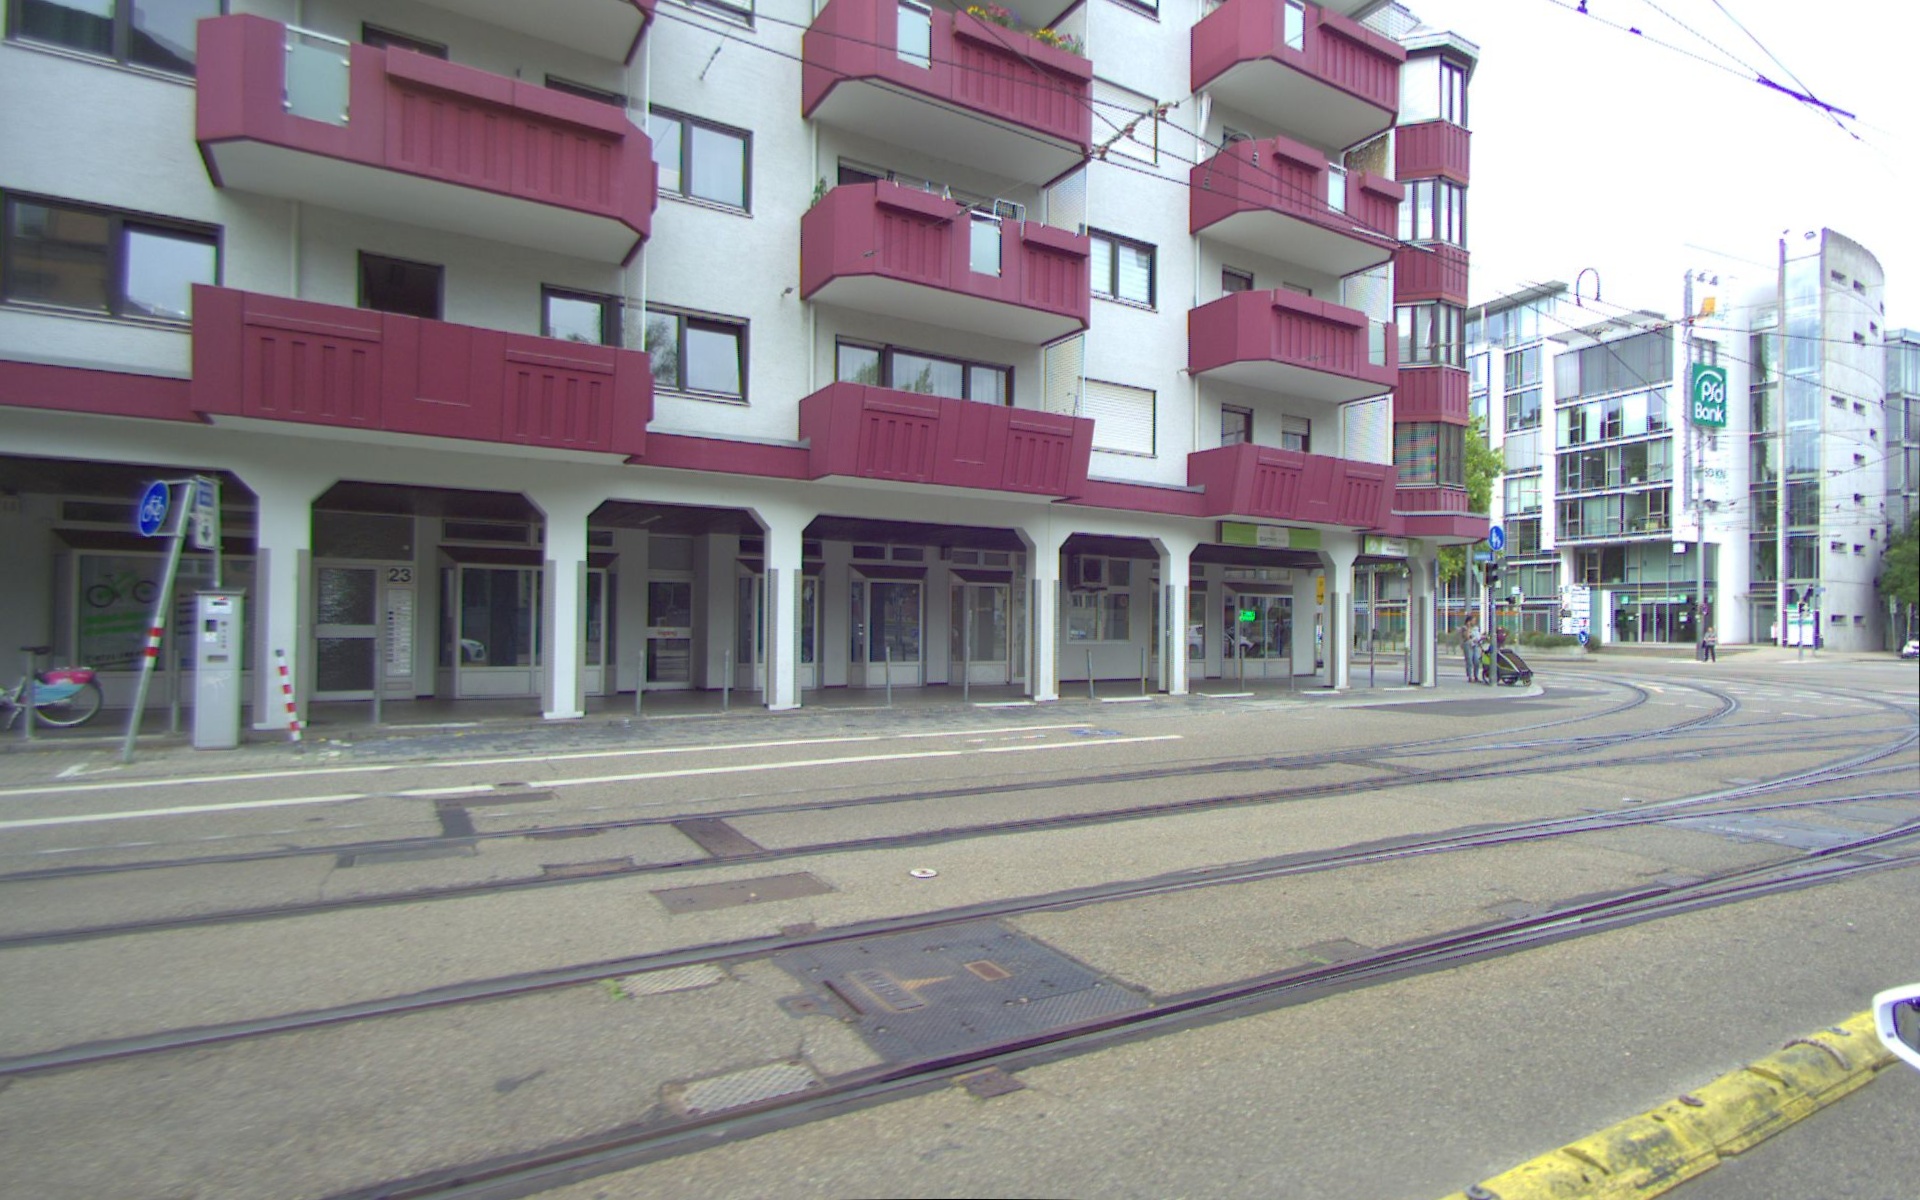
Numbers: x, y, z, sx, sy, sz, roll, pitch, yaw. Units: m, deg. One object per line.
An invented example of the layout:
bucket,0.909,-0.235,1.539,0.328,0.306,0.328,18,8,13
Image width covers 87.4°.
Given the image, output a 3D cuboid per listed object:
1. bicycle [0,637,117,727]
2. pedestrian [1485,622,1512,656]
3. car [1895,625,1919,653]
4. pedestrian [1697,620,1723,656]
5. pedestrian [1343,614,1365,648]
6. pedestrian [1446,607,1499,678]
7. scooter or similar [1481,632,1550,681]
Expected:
bicycle,-10.480,0.902,11.179,1.635,0.966,0.560,1,-1,-38
pedestrian,26.435,1.908,49.316,0.753,1.693,0.935,1,-1,-16
car,57.557,2.326,59.448,4.159,1.577,1.824,1,1,-25
pedestrian,39.852,2.022,53.375,0.753,1.889,0.833,1,-1,-16
pedestrian,22.202,1.756,56.660,0.831,1.880,0.838,1,-1,-30
pedestrian,13.120,1.079,25.733,0.803,1.766,0.942,1,-1,-32
scooter or similar,13.699,1.378,24.803,0.936,1.143,1.189,1,0,-31
